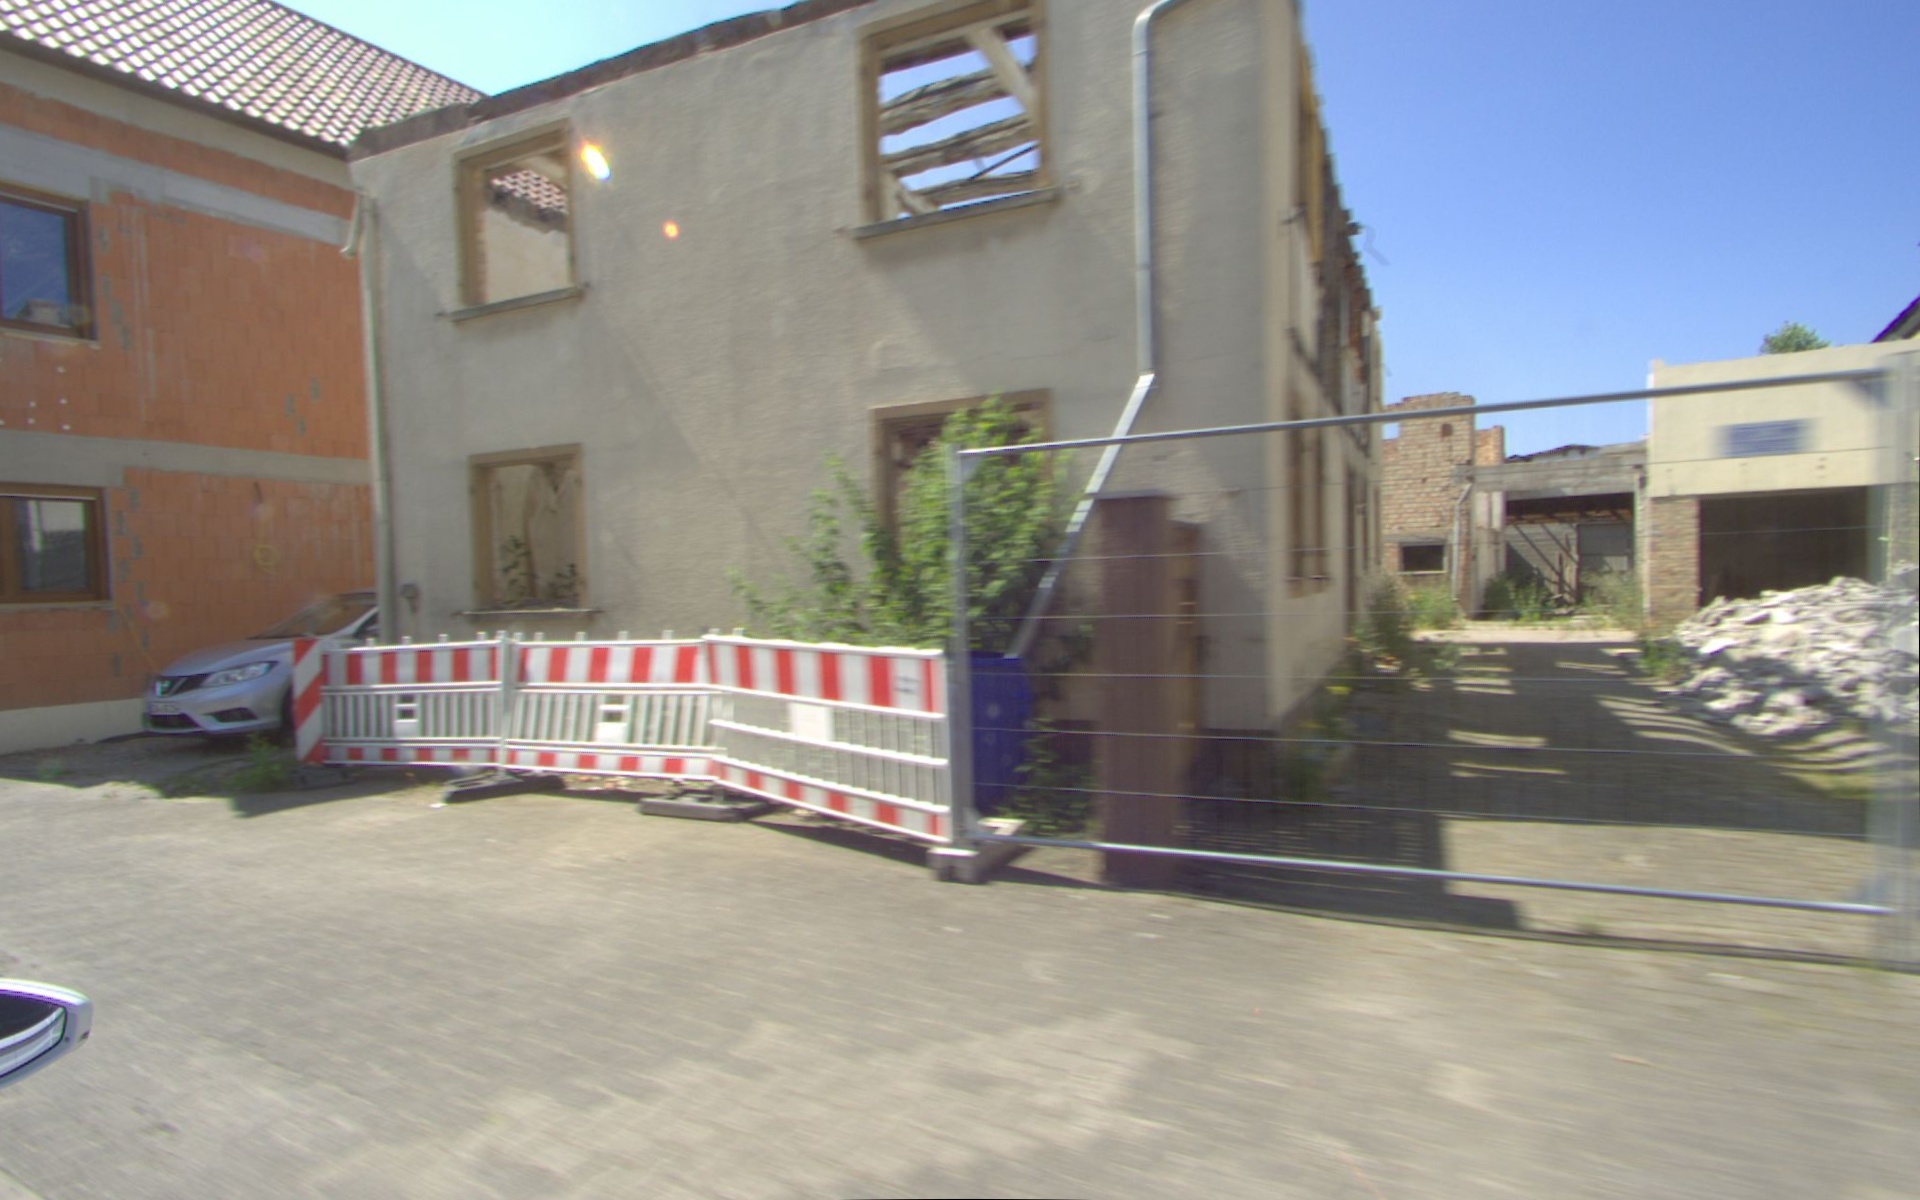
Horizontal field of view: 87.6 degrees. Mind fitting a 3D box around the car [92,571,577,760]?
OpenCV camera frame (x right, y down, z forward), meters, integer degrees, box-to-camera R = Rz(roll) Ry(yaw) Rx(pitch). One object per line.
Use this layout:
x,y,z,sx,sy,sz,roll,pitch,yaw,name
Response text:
-6.468,0.533,10.938,1.840,1.528,4.085,-1,3,25,car
